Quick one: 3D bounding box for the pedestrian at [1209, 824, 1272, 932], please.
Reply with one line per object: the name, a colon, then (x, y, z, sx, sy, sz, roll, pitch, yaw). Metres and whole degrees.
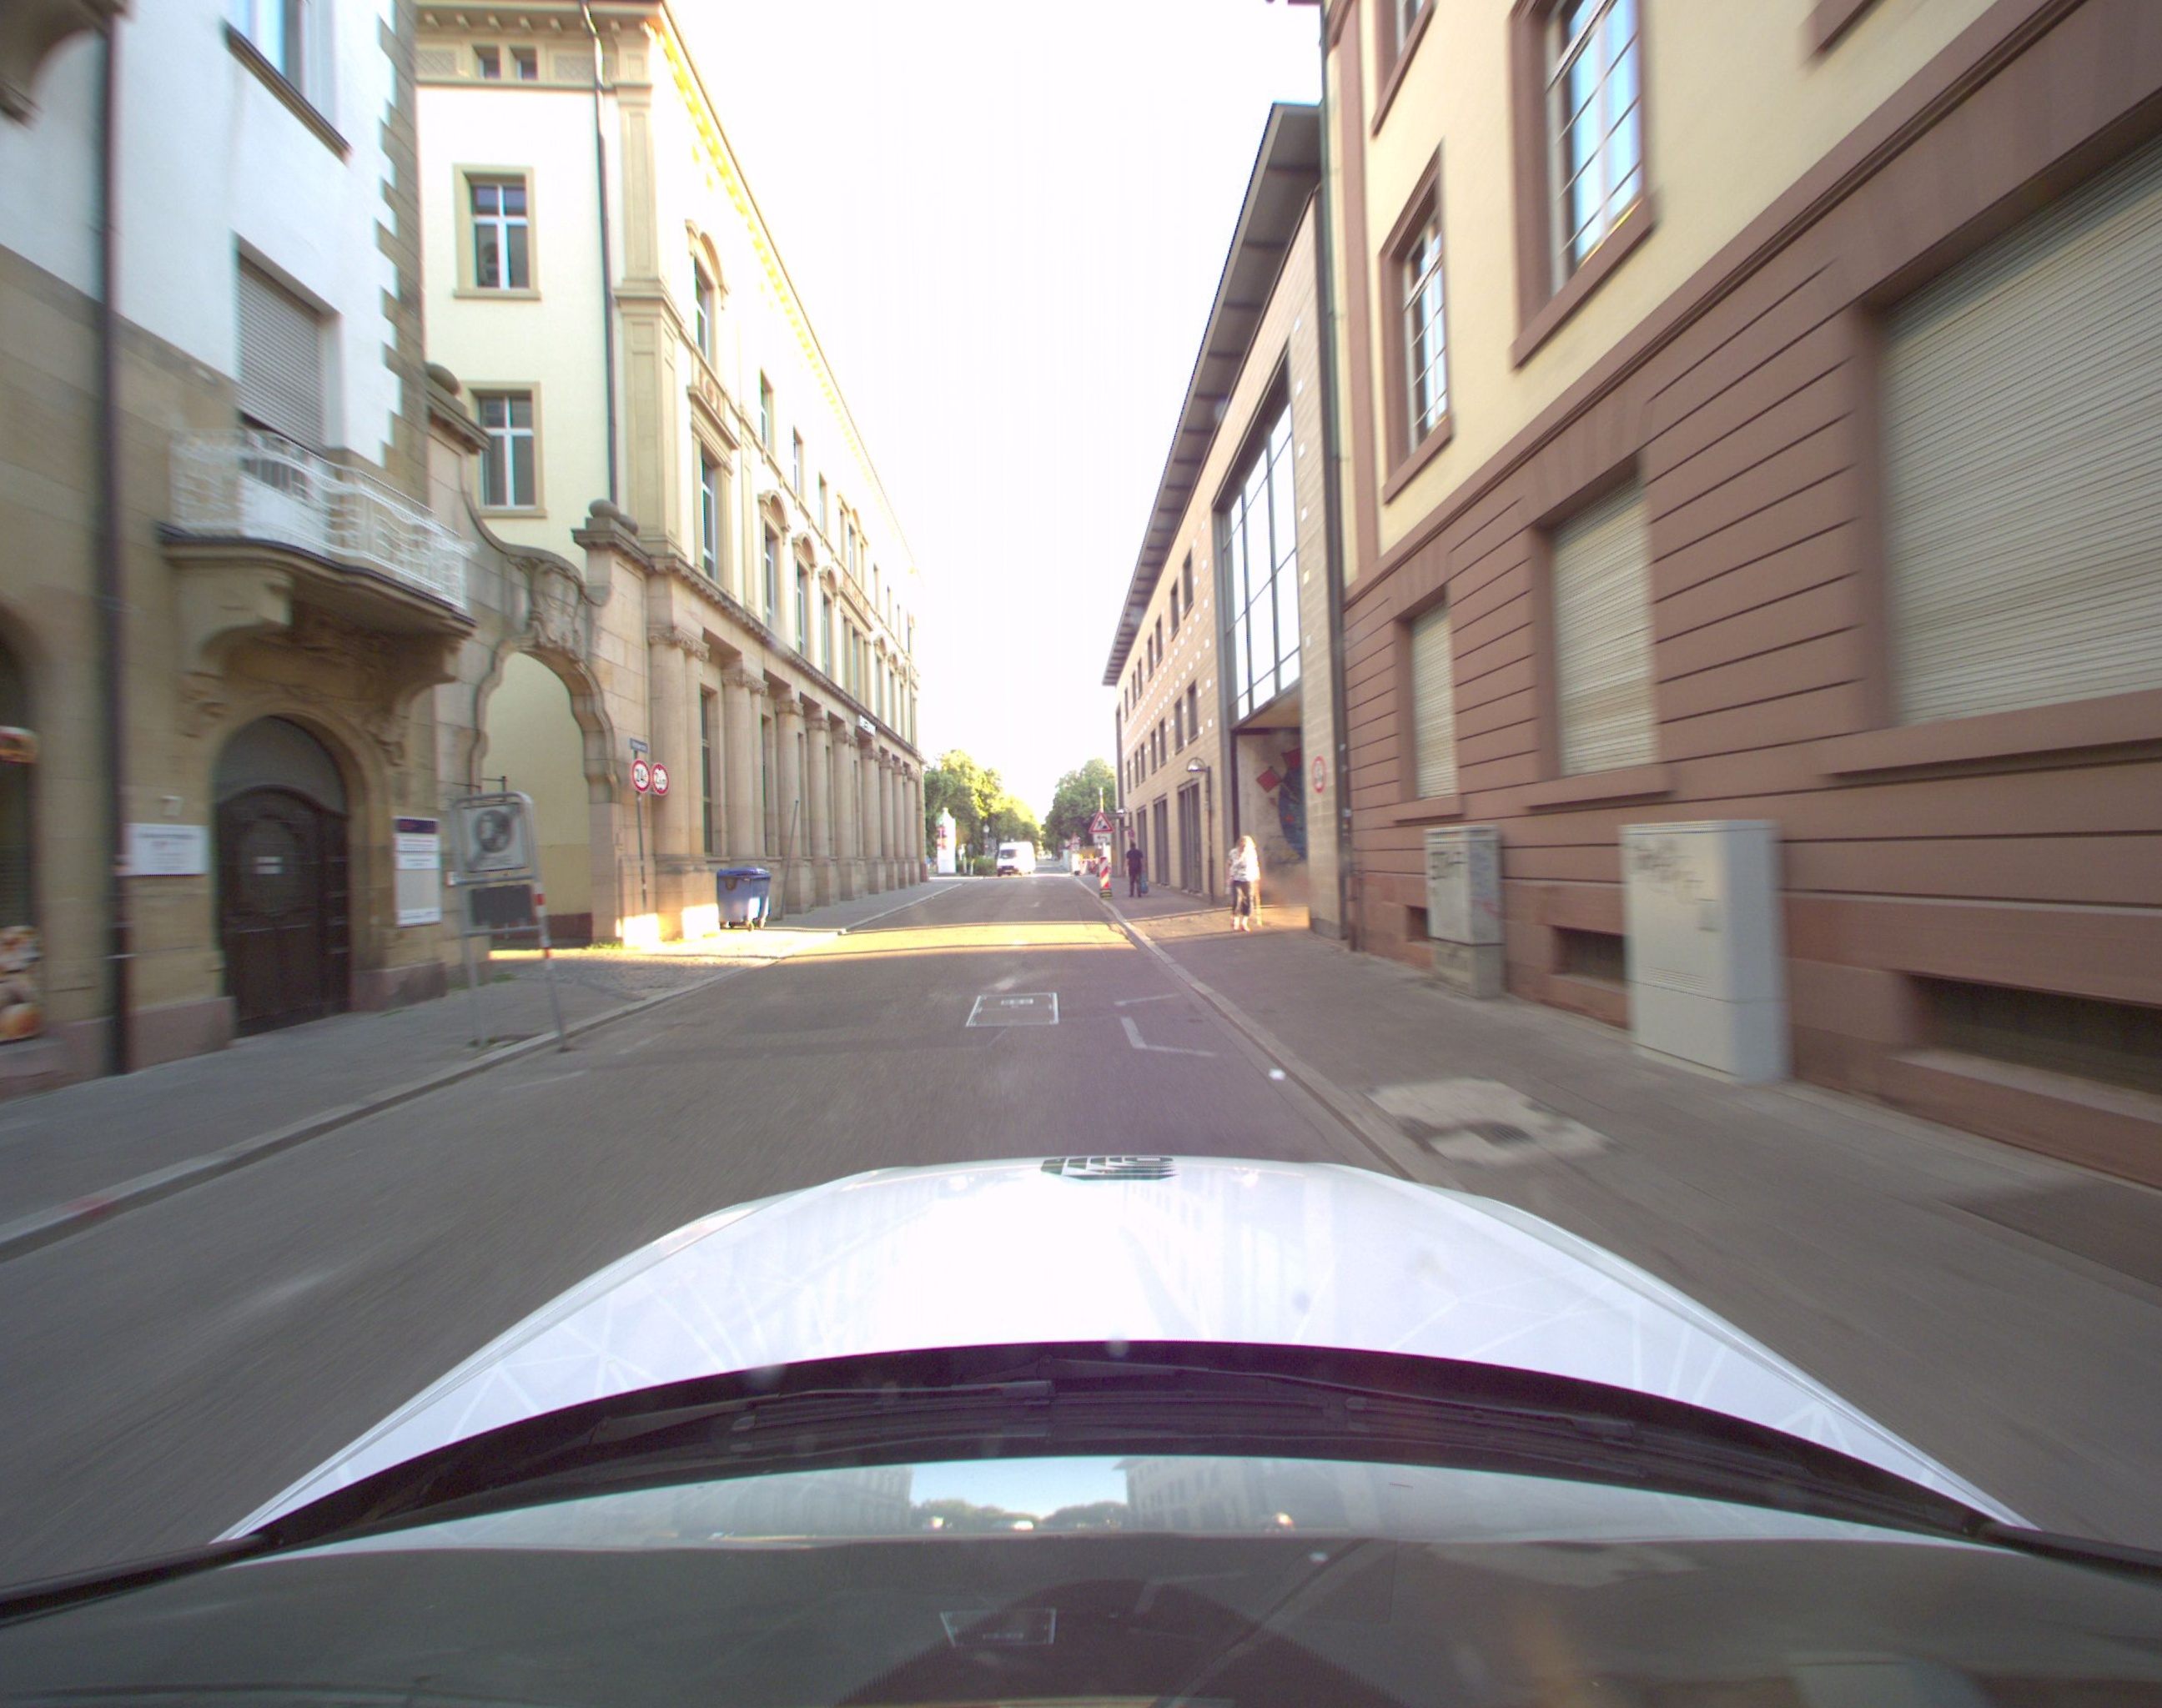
pedestrian: (2.824, 0.414, 14.513, 0.842, 1.803, 0.897, -5, -1, 2)

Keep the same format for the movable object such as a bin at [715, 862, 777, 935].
movable object such as a bin: (-7.357, 0.946, 17.939, 0.826, 1.503, 1.290, -1, 0, -2)

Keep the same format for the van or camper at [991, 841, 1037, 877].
van or camper: (-5.005, 0.339, 61.873, 2.208, 2.585, 6.383, -2, 0, 6)

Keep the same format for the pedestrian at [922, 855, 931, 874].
pedestrian: (-15.113, 1.038, 79.706, 0.851, 1.807, 0.660, -1, 0, -16)

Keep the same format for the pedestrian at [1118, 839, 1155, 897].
pedestrian: (1.785, 0.449, 26.457, 0.998, 1.803, 0.880, -3, -1, -4)

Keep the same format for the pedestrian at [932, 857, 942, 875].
pedestrian: (-14.131, 1.174, 80.064, 0.851, 1.807, 0.660, -1, 0, -16)
